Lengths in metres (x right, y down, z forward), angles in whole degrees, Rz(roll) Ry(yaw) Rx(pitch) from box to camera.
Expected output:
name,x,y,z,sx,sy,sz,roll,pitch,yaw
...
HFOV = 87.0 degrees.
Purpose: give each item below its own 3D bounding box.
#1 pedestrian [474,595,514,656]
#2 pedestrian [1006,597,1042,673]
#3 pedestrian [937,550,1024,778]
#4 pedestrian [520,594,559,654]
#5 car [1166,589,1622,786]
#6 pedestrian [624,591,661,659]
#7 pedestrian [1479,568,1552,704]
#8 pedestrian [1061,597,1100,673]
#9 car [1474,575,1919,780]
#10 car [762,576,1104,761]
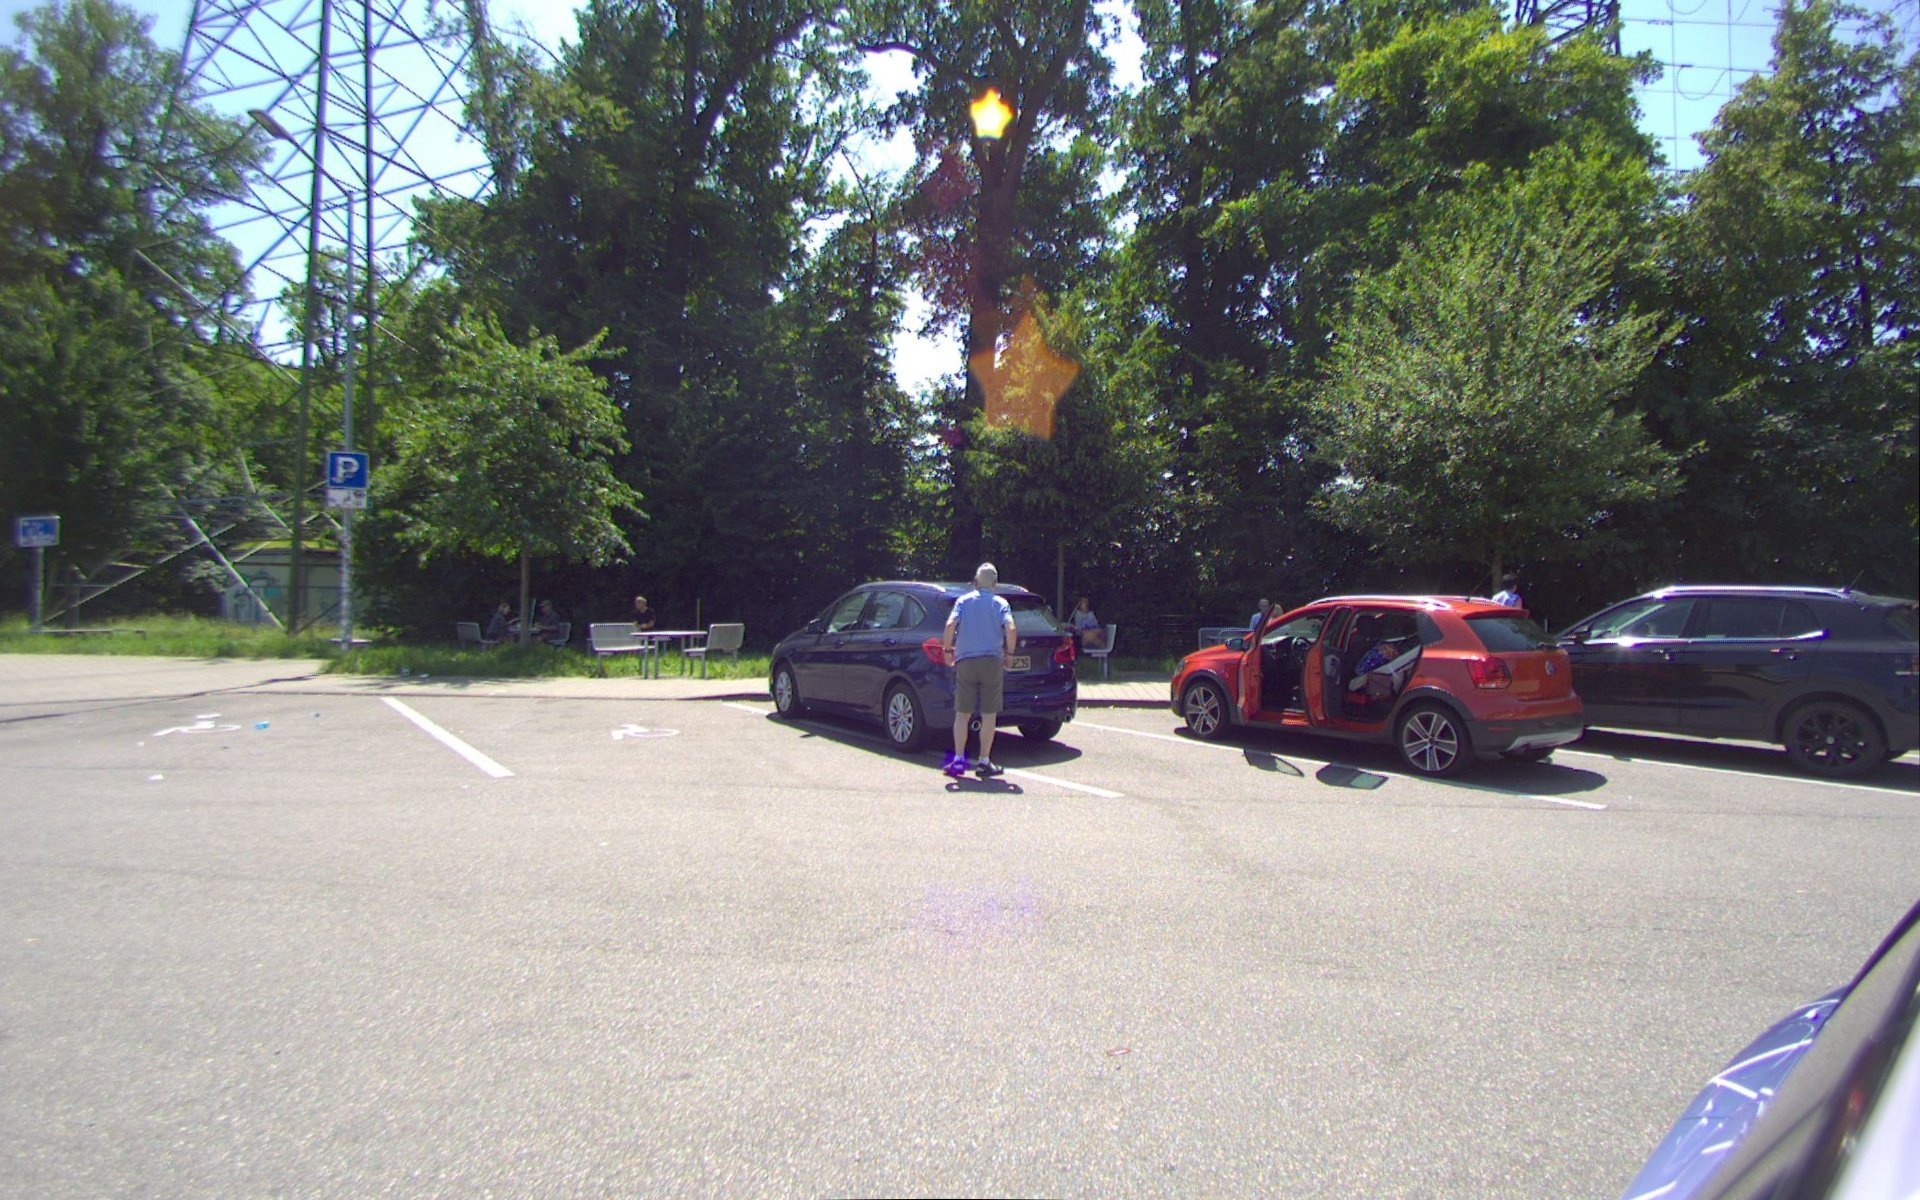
name,x,y,z,sx,sy,sz,roll,pitch,yaw
pedestrian,-10.512,0.555,22.838,0.687,1.352,0.563,0,0,-40
pedestrian,1.075,0.585,17.081,0.576,1.251,0.697,0,-1,1
pedestrian,0.173,0.490,8.251,0.663,1.754,0.833,0,0,2
pedestrian,-9.755,0.545,23.476,0.687,1.352,0.563,0,0,-40
car,3.862,0.644,9.593,1.559,1.467,3.737,1,0,-33
pedestrian,-6.683,0.521,21.316,0.553,1.408,0.700,0,0,2
pedestrian,7.800,0.487,14.223,0.511,1.854,0.765,0,0,-39
pedestrian,2.022,0.581,17.015,0.576,1.251,0.697,0,-1,1
car,7.227,0.595,9.709,1.707,1.607,3.732,1,0,-39
car,-0.476,0.557,10.665,1.776,1.562,3.940,1,0,-34
